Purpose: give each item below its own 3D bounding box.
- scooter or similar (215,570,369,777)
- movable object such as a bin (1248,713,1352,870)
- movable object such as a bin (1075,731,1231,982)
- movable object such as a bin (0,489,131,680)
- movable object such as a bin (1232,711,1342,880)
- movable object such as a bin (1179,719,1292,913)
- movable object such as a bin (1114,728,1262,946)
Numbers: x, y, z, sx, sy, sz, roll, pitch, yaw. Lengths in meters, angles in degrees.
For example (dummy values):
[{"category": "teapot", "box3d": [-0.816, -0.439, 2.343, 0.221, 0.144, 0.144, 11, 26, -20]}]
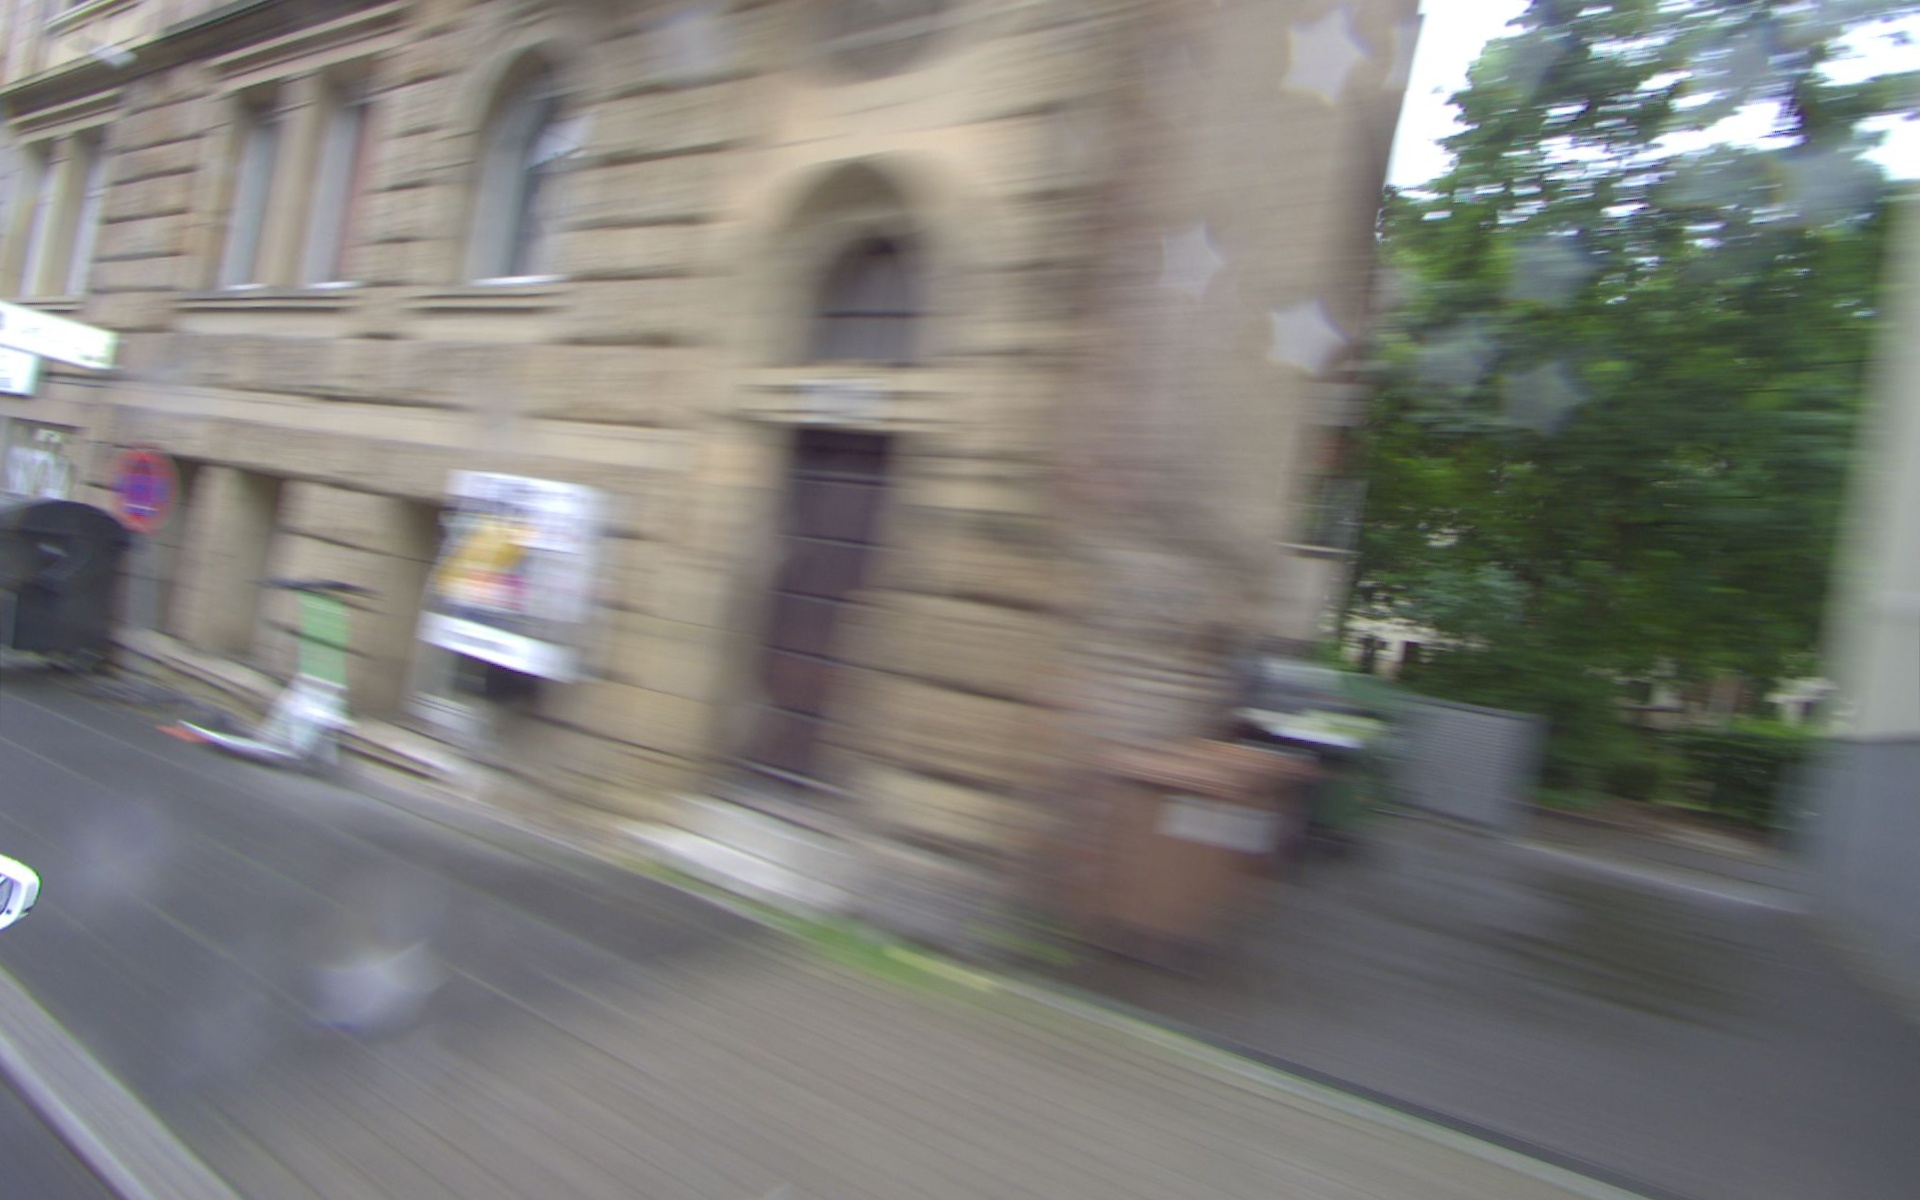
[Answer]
[{"category": "scooter or similar", "box3d": [-4.019, 0.425, 6.043, 0.875, 1.125, 0.210, 6, -1, 22]}, {"category": "movable object such as a bin", "box3d": [2.523, 1.396, 7.451, 0.522, 1.026, 0.502, 7, -2, 30]}, {"category": "movable object such as a bin", "box3d": [0.922, 1.171, 4.757, 0.468, 1.026, 0.502, 7, -2, 29]}, {"category": "movable object such as a bin", "box3d": [-7.862, -0.169, 8.344, 1.370, 1.469, 1.010, 7, 0, 31]}, {"category": "movable object such as a bin", "box3d": [2.259, 1.322, 6.932, 0.522, 1.026, 0.502, 7, -2, 28]}, {"category": "movable object such as a bin", "box3d": [1.653, 1.261, 6.012, 0.432, 1.026, 0.502, 7, -2, 28]}, {"category": "movable object such as a bin", "box3d": [1.214, 1.241, 5.353, 0.499, 1.026, 0.435, 10, -2, -39]}]
